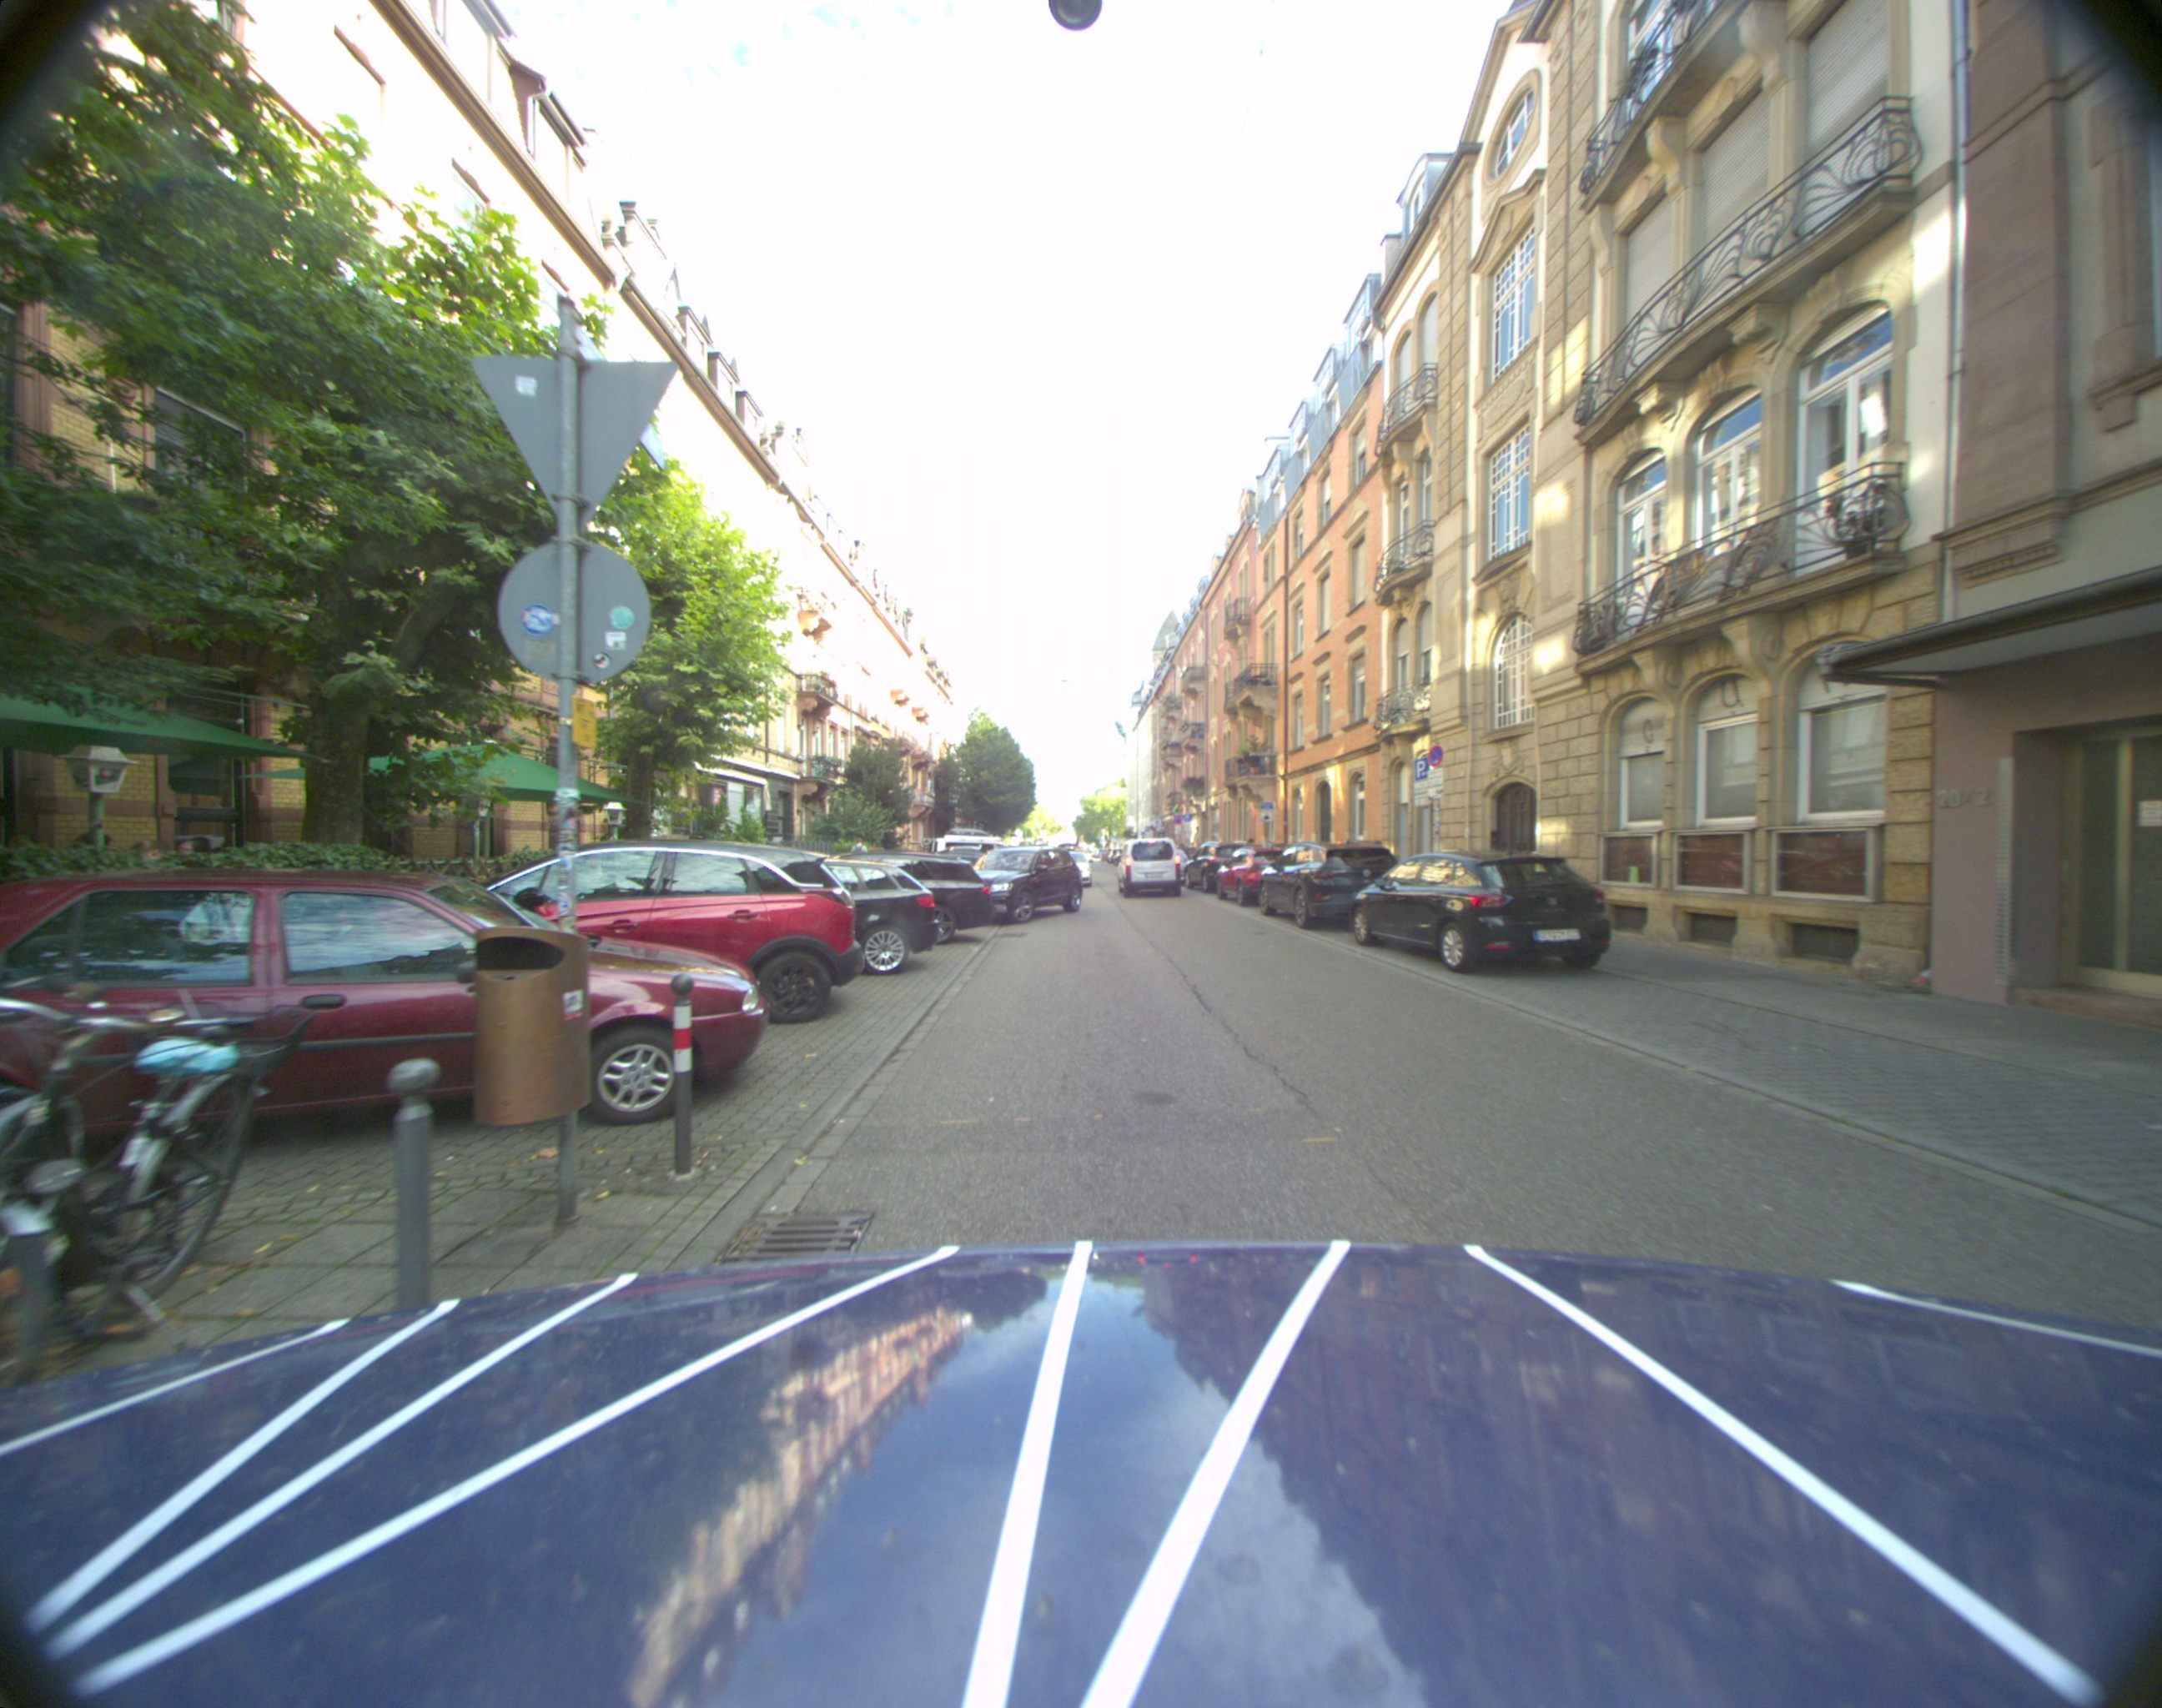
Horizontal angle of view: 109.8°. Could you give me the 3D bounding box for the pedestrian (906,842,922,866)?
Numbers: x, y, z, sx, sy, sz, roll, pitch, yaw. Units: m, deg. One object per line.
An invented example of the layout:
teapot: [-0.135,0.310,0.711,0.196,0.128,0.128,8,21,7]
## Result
pedestrian: [-10.583,0.026,48.101,0.930,1.488,0.811,1,1,-8]

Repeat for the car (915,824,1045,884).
car: [-4.271,0.006,32.456,5.169,2.391,1.913,0,1,-34]

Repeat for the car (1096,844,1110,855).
car: [3.297,-0.696,112.675,1.828,1.477,4.169,-1,1,-1]

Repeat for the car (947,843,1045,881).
car: [-4.248,0.363,38.190,4.466,1.722,1.995,-1,1,-36]

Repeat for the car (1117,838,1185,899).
car: [2.240,0.415,25.417,1.922,1.818,4.437,-1,1,1]

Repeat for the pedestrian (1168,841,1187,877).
pedestrian: [4.690,0.233,36.973,0.566,1.699,0.666,-3,2,-36]

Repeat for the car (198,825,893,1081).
car: [-4.068,0.695,6.641,4.362,1.635,1.817,2,0,-27]

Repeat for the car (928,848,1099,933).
car: [-1.403,0.741,17.704,1.871,1.644,4.394,-1,1,27]

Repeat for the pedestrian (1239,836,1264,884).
pedestrian: [6.521,0.210,29.154,0.758,1.798,0.863,-2,1,3]

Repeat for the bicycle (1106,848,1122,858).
bicycle: [3.850,-0.090,89.052,1.873,1.168,0.687,-1,1,1]

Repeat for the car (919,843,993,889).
car: [-4.821,0.477,29.364,2.473,1.656,1.344,3,-1,-27]

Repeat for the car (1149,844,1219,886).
car: [4.211,0.399,32.013,1.830,1.569,5.260,-1,1,-4]

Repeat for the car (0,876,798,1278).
car: [-3.796,0.918,4.203,3.950,1.448,1.765,-1,1,-29]

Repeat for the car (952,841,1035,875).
car: [-5.126,0.249,44.948,4.649,1.774,1.810,2,-1,-2]

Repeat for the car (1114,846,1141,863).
car: [4.038,0.017,66.386,1.817,1.343,5.113,-1,1,-2]

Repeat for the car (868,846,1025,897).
car: [-4.157,0.584,23.942,4.479,1.468,1.884,3,-1,-40]

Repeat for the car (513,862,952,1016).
car: [-4.000,0.859,9.312,4.421,1.448,1.938,0,1,-25]

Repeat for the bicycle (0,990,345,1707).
bicycle: [-2.677,1.064,2.033,0.550,1.034,1.852,3,0,-30]

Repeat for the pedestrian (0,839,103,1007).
pedestrian: [-10.655,0.674,7.730,0.648,1.633,0.563,2,1,-5]

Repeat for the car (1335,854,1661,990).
car: [5.194,0.731,10.293,1.999,1.412,4.243,0,1,-2]

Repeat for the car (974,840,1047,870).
car: [-4.638,0.072,50.184,4.412,1.812,1.750,1,1,-33]

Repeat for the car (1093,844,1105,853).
car: [2.937,-0.871,125.084,1.911,1.412,3.999,-1,1,-1]

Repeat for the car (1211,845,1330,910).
car: [4.975,0.549,20.633,1.999,1.536,4.425,0,1,-2]

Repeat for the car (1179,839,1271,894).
car: [4.868,0.392,26.365,1.878,1.671,4.892,-2,0,-4]

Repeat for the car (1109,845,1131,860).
car: [3.853,-0.147,76.243,1.674,1.407,4.010,-1,1,-4]

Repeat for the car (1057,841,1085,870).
car: [-0.671,0.090,53.363,1.811,1.914,3.999,-2,1,0]

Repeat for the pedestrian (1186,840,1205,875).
pedestrian: [5.531,0.174,36.846,0.682,1.652,0.550,-2,2,-31]

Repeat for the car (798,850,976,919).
car: [-4.574,0.681,18.154,3.727,1.476,1.736,1,0,-39]

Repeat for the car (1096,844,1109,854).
car: [3.356,-0.776,118.761,1.911,1.412,3.999,-1,1,-1]

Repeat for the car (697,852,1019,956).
car: [-3.647,0.763,12.627,4.776,1.448,2.052,2,-1,-29]

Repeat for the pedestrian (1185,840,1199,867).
pedestrian: [6.947,-0.041,47.597,0.665,1.686,0.763,-2,1,-1]

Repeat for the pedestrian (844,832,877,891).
pedestrian: [-7.124,0.232,24.564,0.841,1.867,0.723,0,1,3]

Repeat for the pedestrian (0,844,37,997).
pedestrian: [-11.315,0.678,7.697,0.630,1.561,0.570,0,1,-5]

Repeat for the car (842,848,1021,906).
car: [-4.074,0.623,21.041,4.478,1.456,1.874,2,-1,-35]

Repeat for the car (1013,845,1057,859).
car: [-5.334,-0.257,88.772,4.817,1.535,1.865,1,1,-33]

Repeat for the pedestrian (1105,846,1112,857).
pedestrian: [3.306,-0.284,90.744,0.739,1.341,0.644,-1,1,2]

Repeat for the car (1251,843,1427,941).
car: [4.862,0.596,15.160,1.795,1.619,4.846,0,1,-1]

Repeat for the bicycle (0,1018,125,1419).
bicycle: [-3.058,1.096,1.703,0.462,1.034,1.852,3,0,-30]

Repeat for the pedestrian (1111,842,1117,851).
pedestrian: [5.755,-1.298,131.813,0.845,1.699,0.879,-1,1,-1]

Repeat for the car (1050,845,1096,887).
car: [-0.312,0.462,32.421,1.811,1.622,4.000,-2,1,0]
